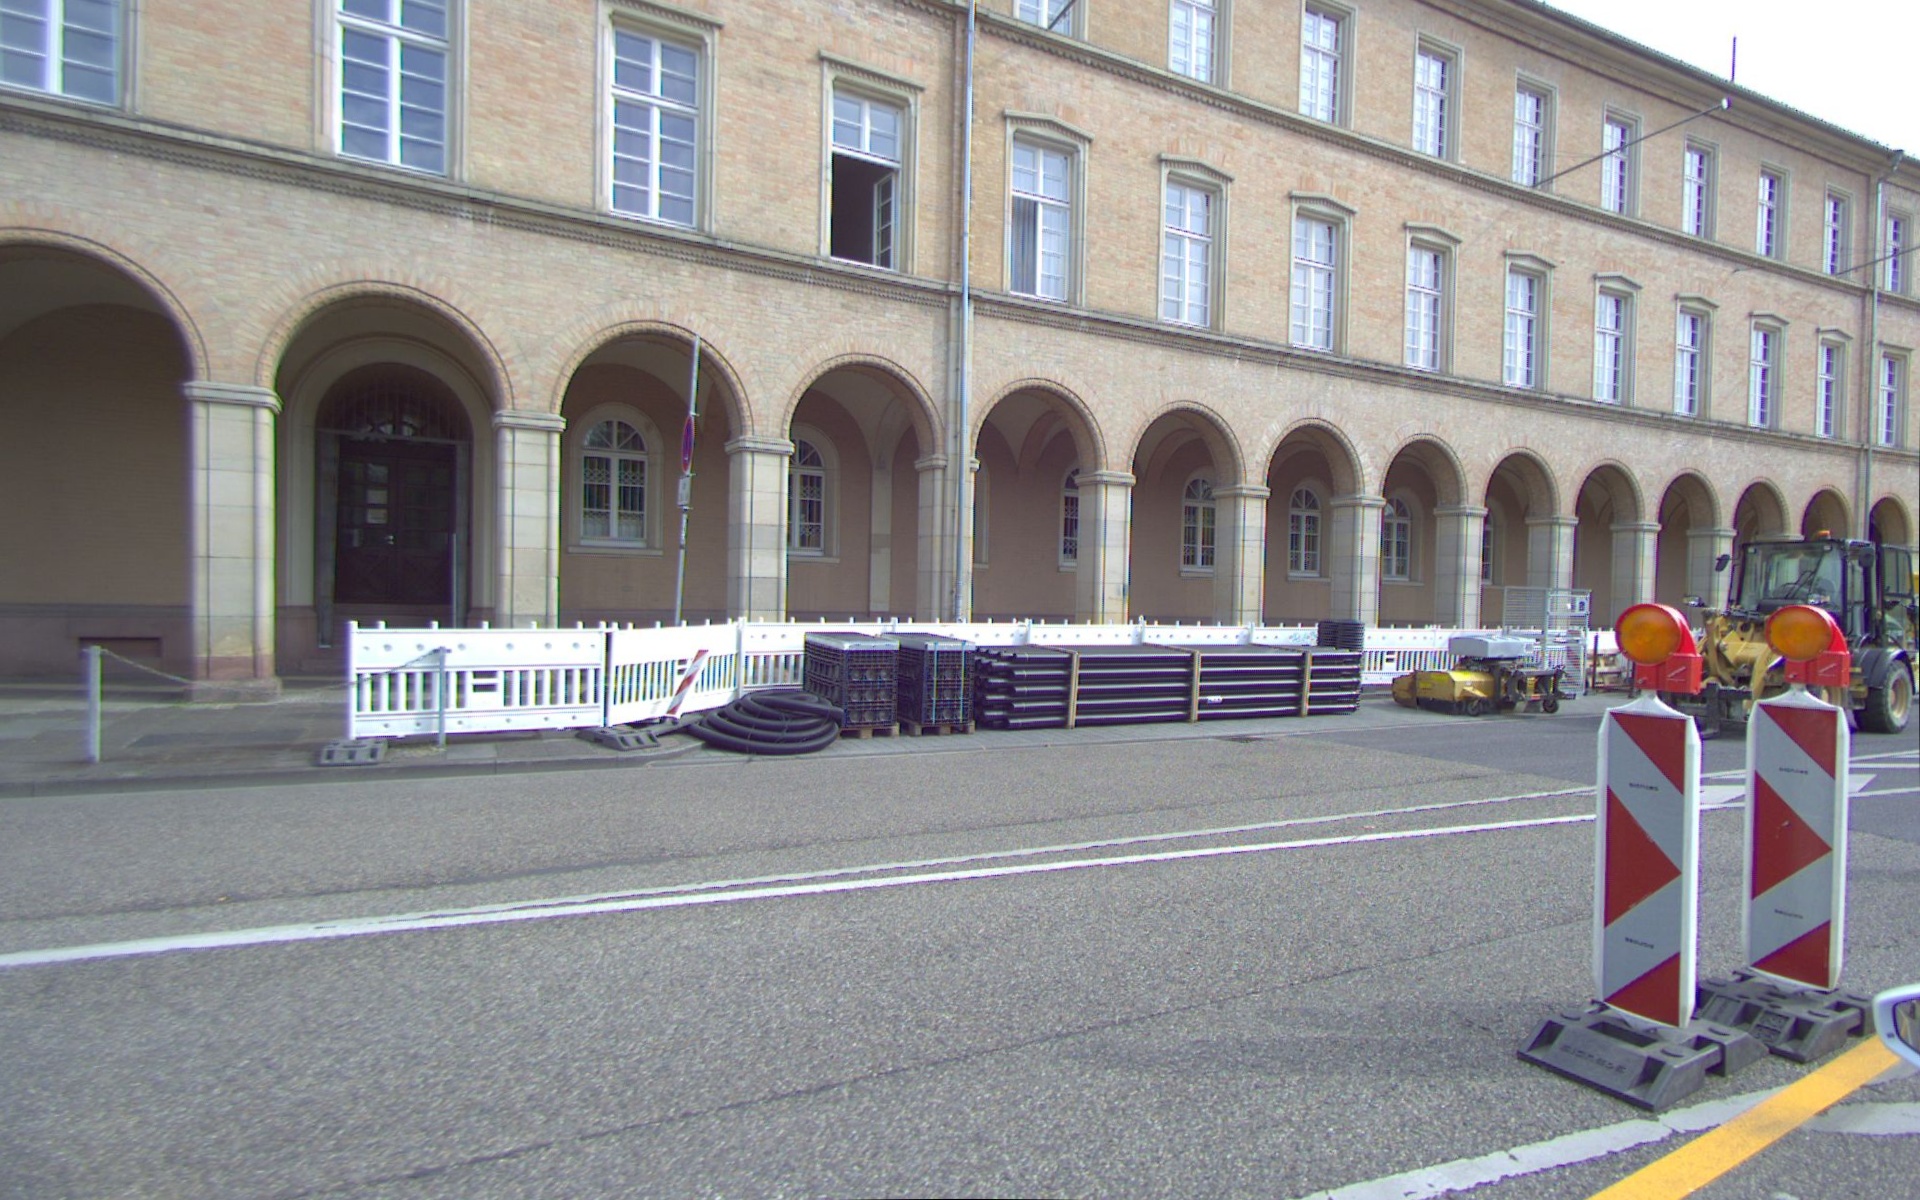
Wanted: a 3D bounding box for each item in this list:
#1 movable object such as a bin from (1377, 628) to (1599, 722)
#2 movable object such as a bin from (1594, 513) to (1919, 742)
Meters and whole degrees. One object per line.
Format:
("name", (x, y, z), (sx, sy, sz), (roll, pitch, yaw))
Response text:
("movable object such as a bin", (8.236, 1.108, 15.715), (2.711, 1.140, 1.801), (-1, 4, -26))
("movable object such as a bin", (11.335, 0.371, 14.135), (4.562, 2.754, 2.106), (1, 0, -29))
